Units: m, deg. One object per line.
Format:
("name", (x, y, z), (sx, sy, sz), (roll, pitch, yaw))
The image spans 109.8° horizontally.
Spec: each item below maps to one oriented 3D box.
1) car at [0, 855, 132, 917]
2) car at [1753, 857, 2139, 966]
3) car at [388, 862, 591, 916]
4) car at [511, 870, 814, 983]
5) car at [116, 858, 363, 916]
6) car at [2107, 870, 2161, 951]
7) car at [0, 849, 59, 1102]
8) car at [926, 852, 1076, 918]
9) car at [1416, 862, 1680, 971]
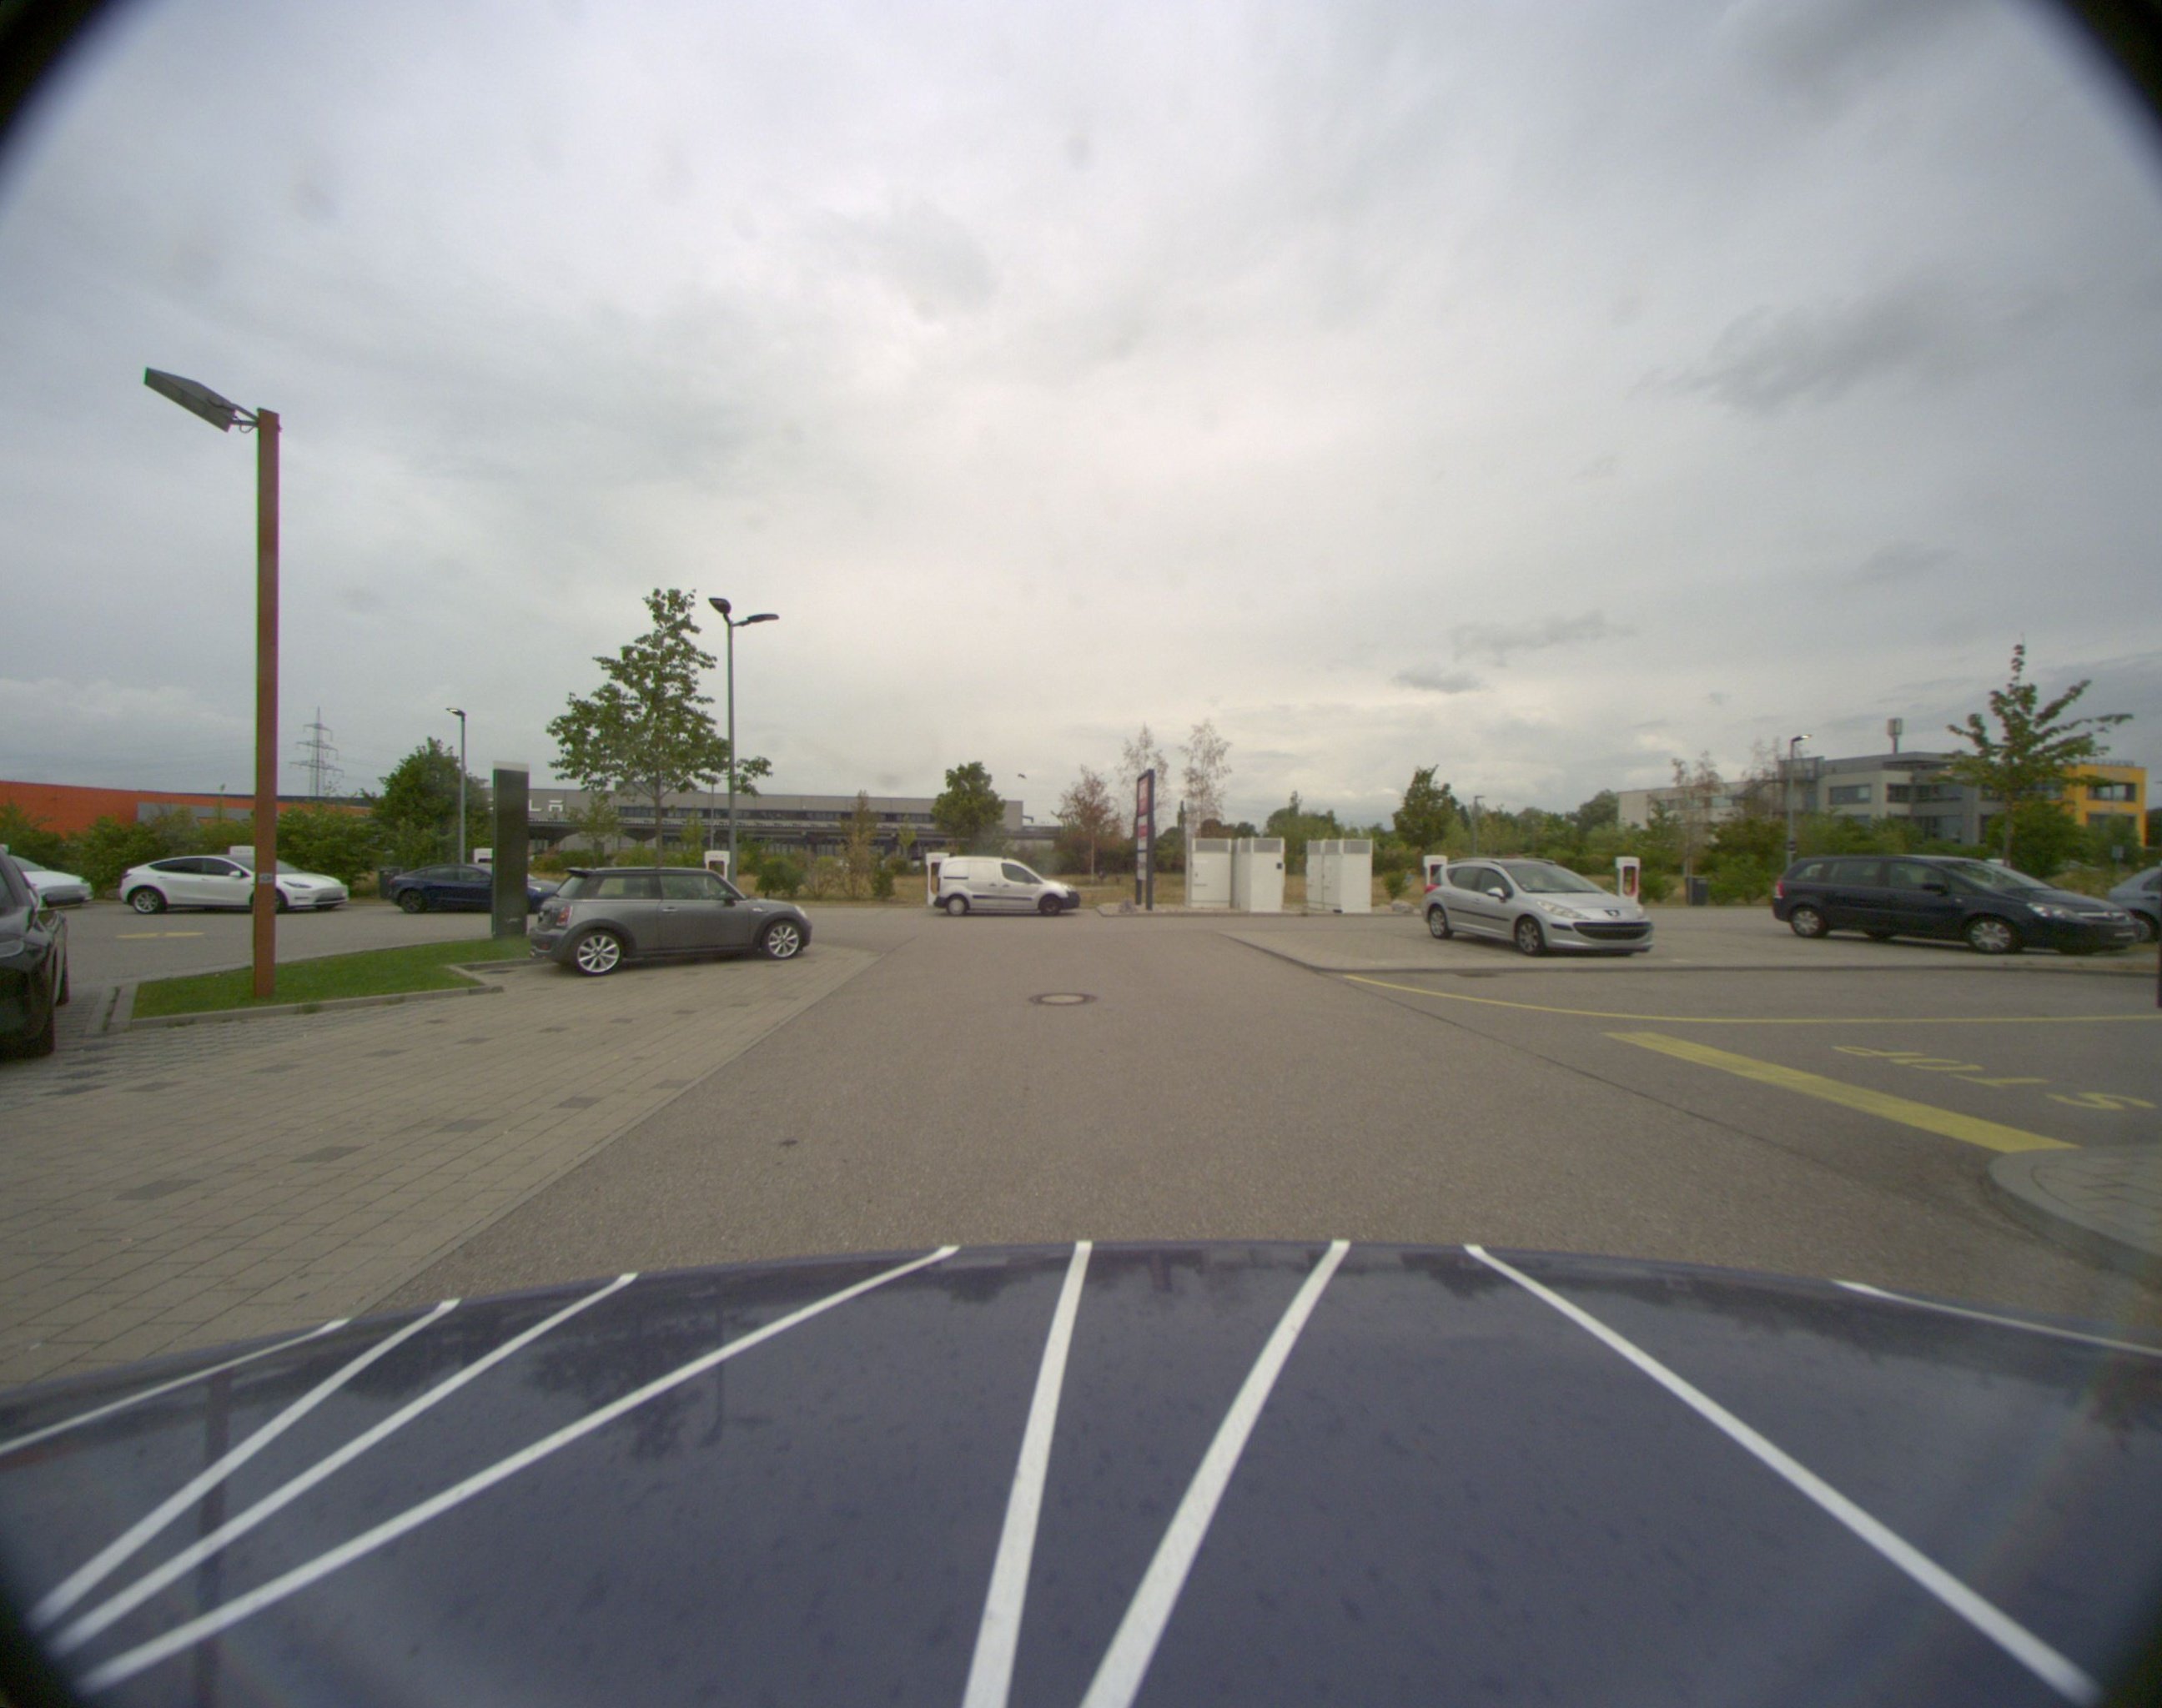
("car", (-30.605, 0.842, 21.370), (4.943, 1.592, 2.072), (1, 0, -4))
("car", (14.931, 0.875, 13.595), (1.585, 1.607, 4.484), (1, 0, -5))
("car", (-17.243, 1.000, 22.308), (4.454, 1.450, 1.833), (1, 1, -2))
("car", (-5.969, 0.936, 11.086), (3.535, 1.368, 1.605), (2, -2, -45))
("car", (-23.828, 0.905, 21.697), (4.477, 1.544, 2.072), (0, 0, -6))
("car", (19.346, 0.955, 11.938), (1.431, 1.386, 3.684), (1, -1, -1))
("car", (-9.790, 0.822, 5.983), (4.882, 1.717, 2.004), (0, -1, 37))
("car", (-2.394, 0.930, 23.194), (4.335, 1.876, 1.946), (1, -1, -5))
("car", (7.535, 0.911, 12.819), (1.628, 1.496, 4.167), (1, 0, -5))
